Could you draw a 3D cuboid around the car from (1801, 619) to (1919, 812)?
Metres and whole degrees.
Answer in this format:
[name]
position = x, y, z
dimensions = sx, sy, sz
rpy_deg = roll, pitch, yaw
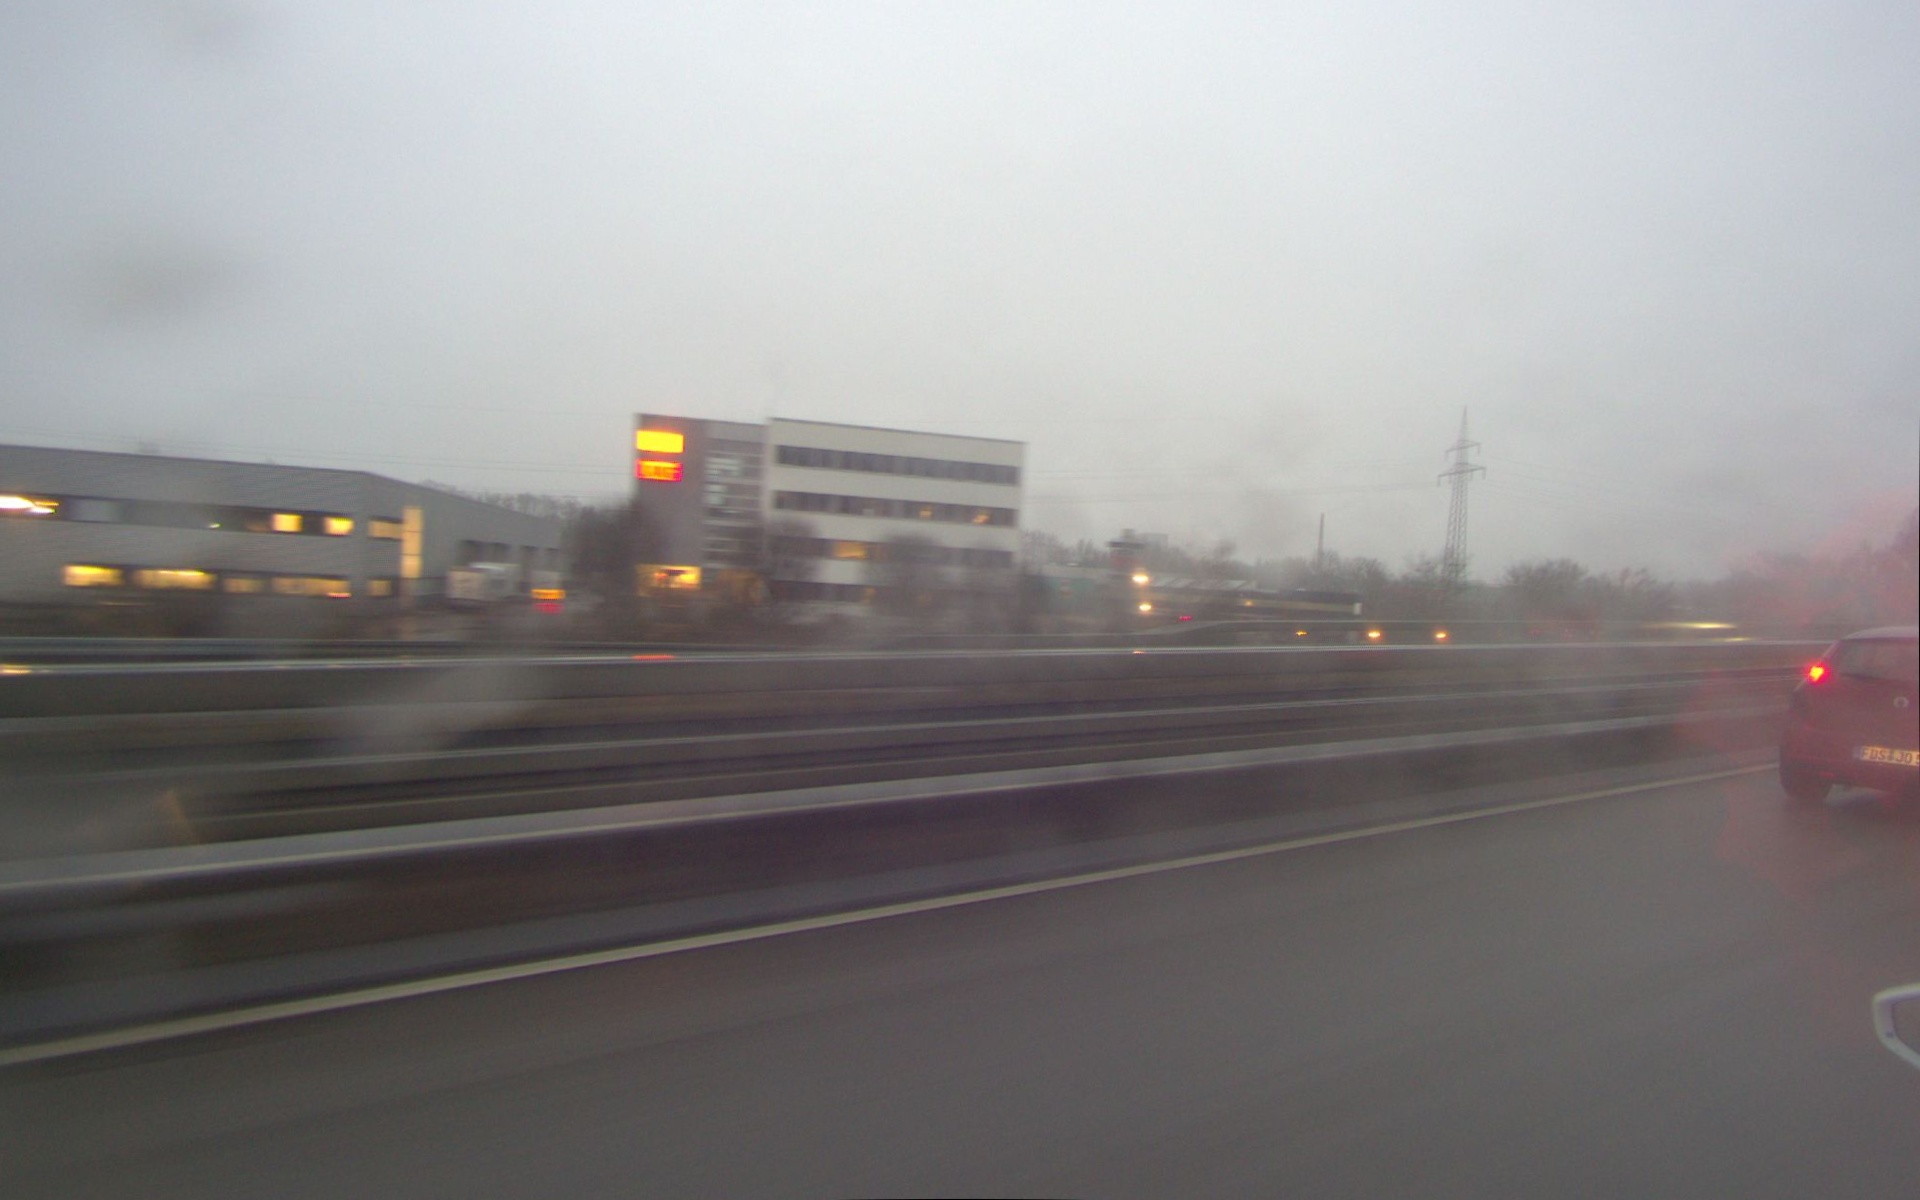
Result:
[car]
position = 8.888, 0.889, 8.443
dimensions = 3.955, 1.411, 1.617
rpy_deg = 0, 1, -32
